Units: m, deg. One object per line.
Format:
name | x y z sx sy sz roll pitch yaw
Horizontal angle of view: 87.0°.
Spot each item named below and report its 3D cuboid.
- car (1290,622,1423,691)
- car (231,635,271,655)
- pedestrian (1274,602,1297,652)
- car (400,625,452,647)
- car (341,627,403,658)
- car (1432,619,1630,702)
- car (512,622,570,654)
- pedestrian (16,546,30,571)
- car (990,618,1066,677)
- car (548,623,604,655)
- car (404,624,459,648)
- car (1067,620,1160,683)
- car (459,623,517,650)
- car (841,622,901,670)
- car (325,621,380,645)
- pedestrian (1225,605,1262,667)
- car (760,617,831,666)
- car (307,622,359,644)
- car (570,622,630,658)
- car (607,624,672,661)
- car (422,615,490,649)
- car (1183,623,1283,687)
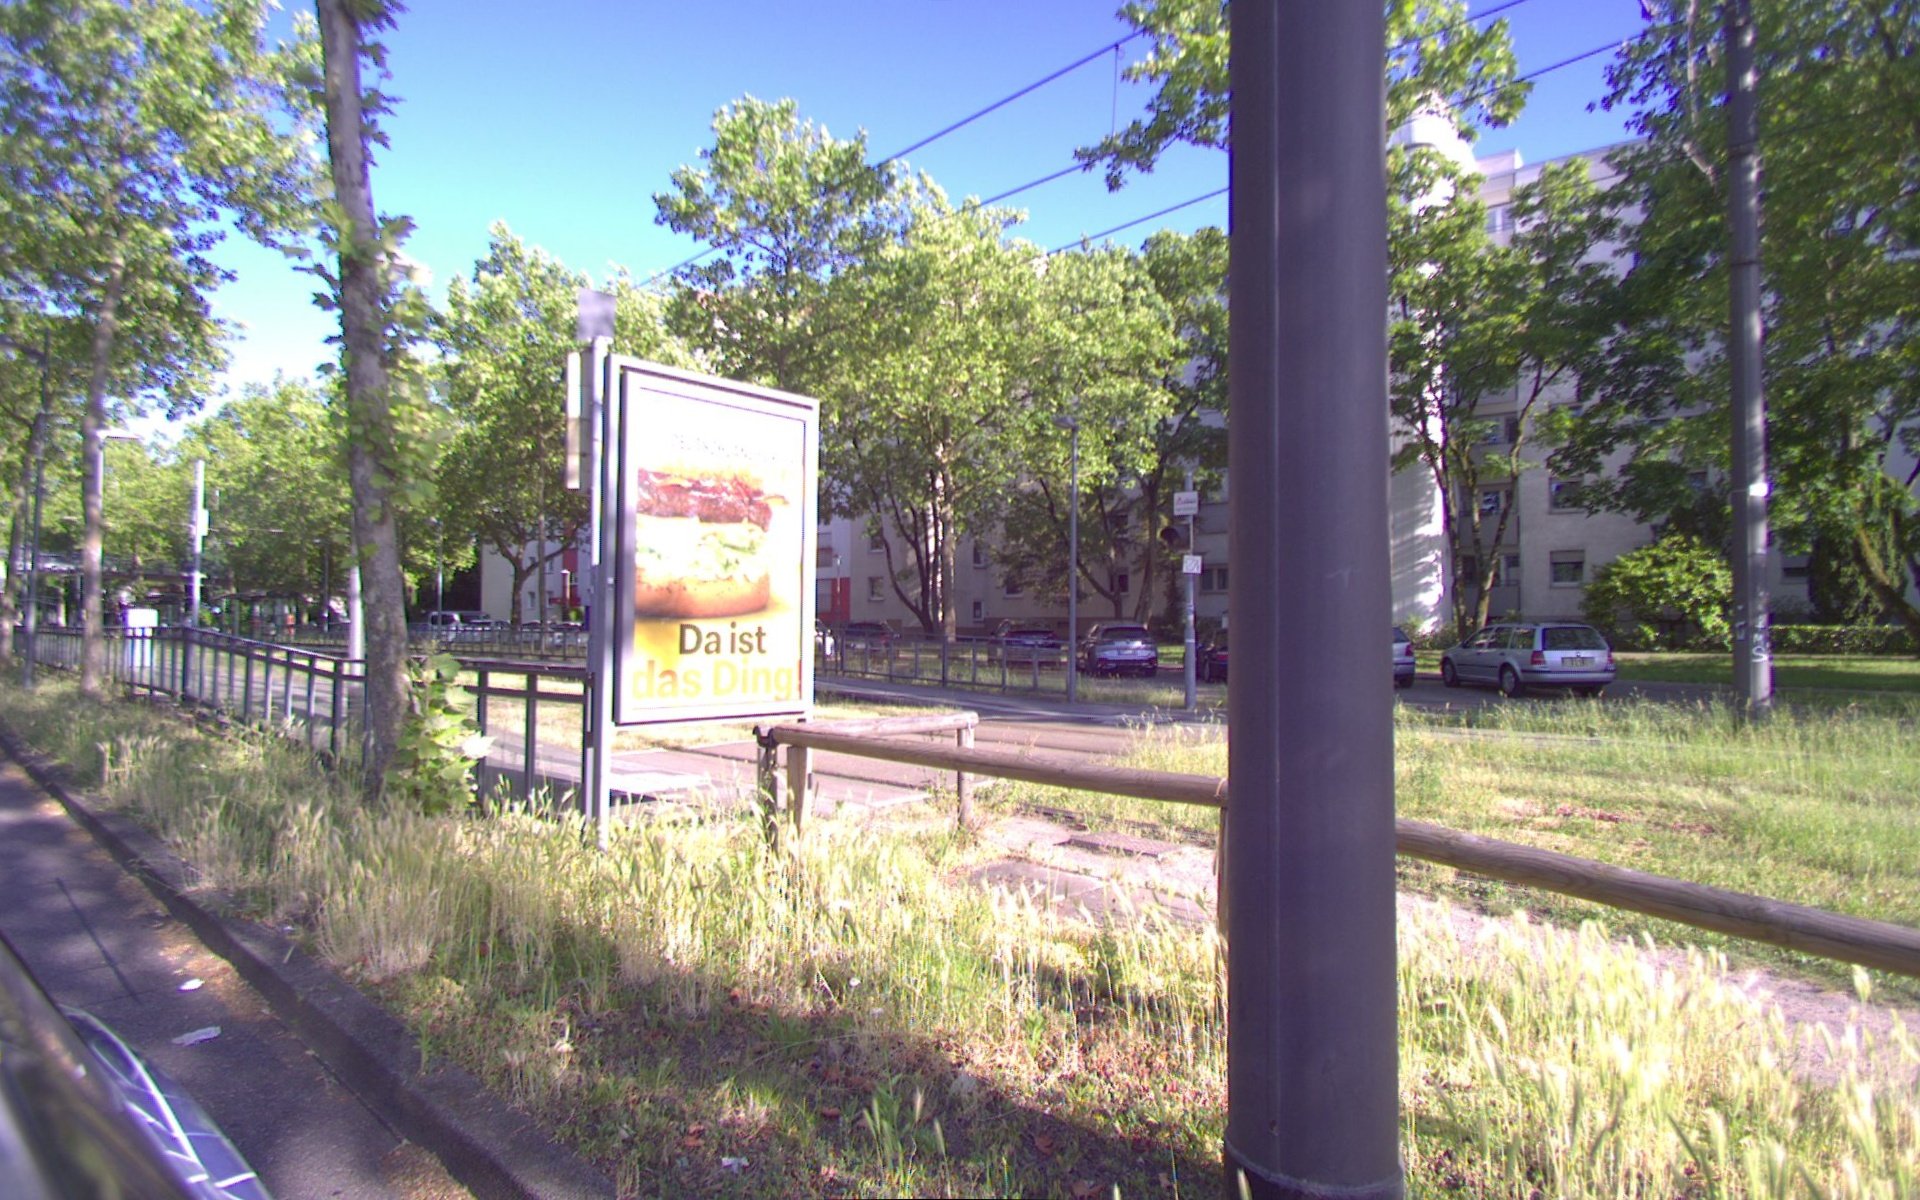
car | 9.122 1.254 23.591 1.553 1.431 3.620 -1 -1 -1
car | -57.153 3.629 81.530 4.100 1.523 1.746 -1 -2 41
pedestrian | 11.774 0.967 36.632 0.634 1.770 0.516 -1 -2 39
car | -33.030 2.219 62.708 1.459 1.311 3.488 0 -1 -1
car | -30.970 2.209 53.217 1.785 1.534 4.333 1 -2 -45
car | 11.518 1.154 20.744 1.685 1.454 3.978 -1 0 -2
car | -21.097 1.891 51.062 1.539 1.436 3.489 -3 0 -2
pedestrian | -70.957 -3.150 76.621 0.511 1.898 0.728 -1 0 40
car | 1.910 1.336 29.613 1.669 1.499 4.003 -1 0 -4
car | -18.735 1.882 49.516 1.459 1.339 3.488 -2 0 -1
car | -30.936 2.092 59.353 1.459 1.354 3.488 0 -1 -1
car | 4.113 1.336 27.704 1.650 1.469 4.004 -1 0 -4
car | -25.851 1.994 55.558 1.605 1.414 3.488 0 -1 -1
car | -3.003 1.544 34.665 1.538 1.439 3.761 -1 0 3
car | -40.690 2.181 67.893 1.578 1.582 3.830 0 -1 -3
pedestrian | 8.221 1.031 29.353 0.755 1.770 0.752 -1 -2 41
car | -5.993 1.488 37.214 1.791 1.607 3.997 -1 0 3
car | -44.957 2.332 72.666 1.578 1.538 3.737 0 -1 -3
car | -16.651 1.815 46.971 1.445 1.519 3.393 -1 0 3
car | -14.027 1.843 44.480 1.470 1.425 3.880 -1 0 3
car | -28.402 1.779 57.156 1.843 1.826 4.047 0 -1 0
car | 6.744 1.321 25.360 1.572 1.360 3.922 -1 0 3
